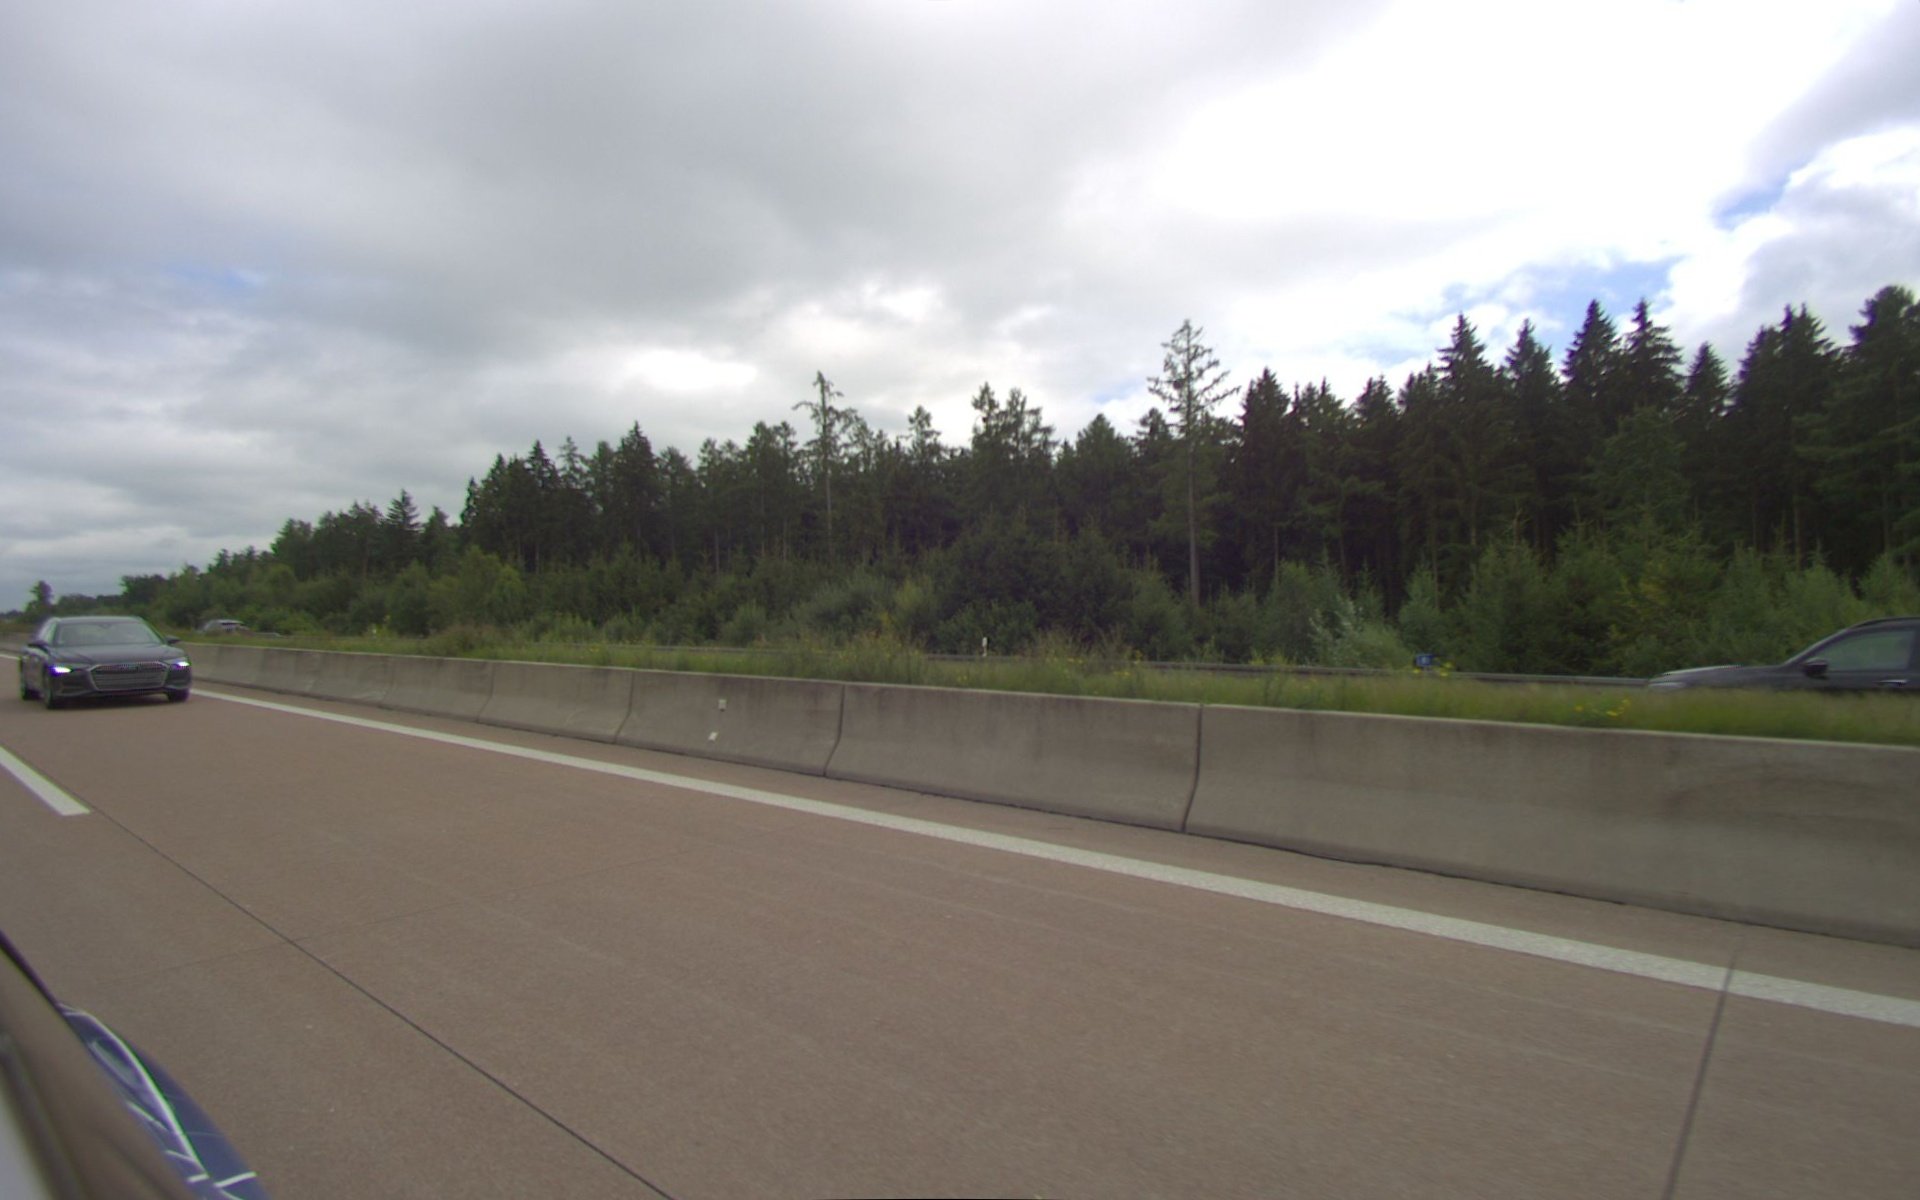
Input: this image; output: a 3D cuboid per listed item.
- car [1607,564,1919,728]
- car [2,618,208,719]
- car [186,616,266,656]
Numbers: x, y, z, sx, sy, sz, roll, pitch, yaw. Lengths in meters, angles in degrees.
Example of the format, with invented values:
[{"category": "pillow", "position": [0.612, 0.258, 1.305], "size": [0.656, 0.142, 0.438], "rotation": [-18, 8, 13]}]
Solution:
[{"category": "car", "position": [10.314, 0.459, 11.111], "size": [5.125, 1.639, 2.322], "rotation": [-1, -1, 41]}, {"category": "car", "position": [-15.367, 1.111, 18.066], "size": [5.450, 1.503, 2.037], "rotation": [-1, -1, 41]}, {"category": "car", "position": [-40.374, 1.929, 55.605], "size": [5.852, 2.045, 2.322], "rotation": [-1, -1, 41]}]
